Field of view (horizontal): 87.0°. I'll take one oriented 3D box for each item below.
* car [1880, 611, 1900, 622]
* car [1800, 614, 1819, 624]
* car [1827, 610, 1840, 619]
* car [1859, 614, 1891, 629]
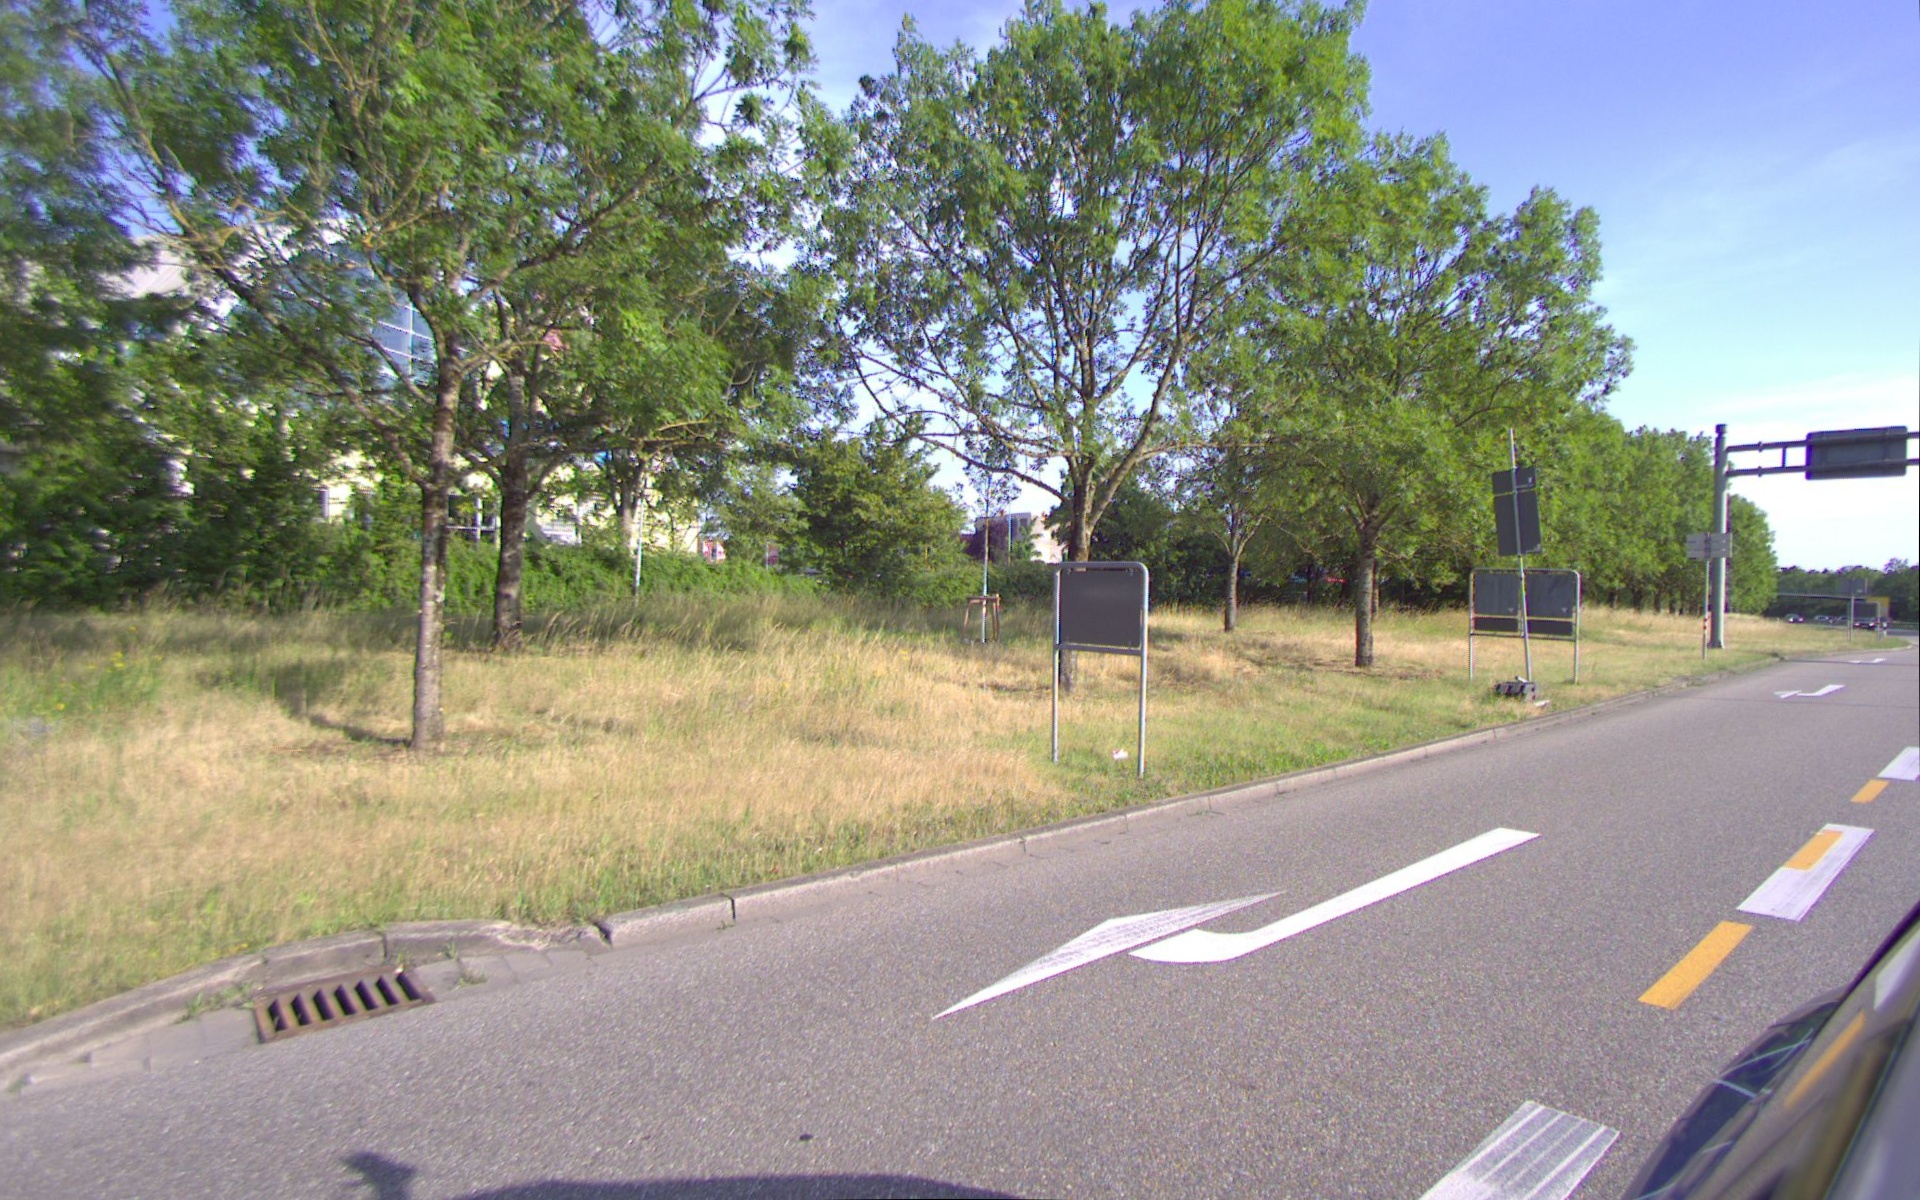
[{"bbox_3d":[133.578,2.383,145.350,1.726,1.632,3.478,0,-1,36],"label":"car"},{"bbox_3d":[134.227,2.987,159.976,1.883,1.474,3.862,2,1,34],"label":"car"},{"bbox_3d":[155.948,2.575,180.700,1.598,1.460,3.193,0,-1,36],"label":"car"},{"bbox_3d":[90.696,2.112,100.345,1.891,1.403,4.299,0,-1,36],"label":"car"}]
